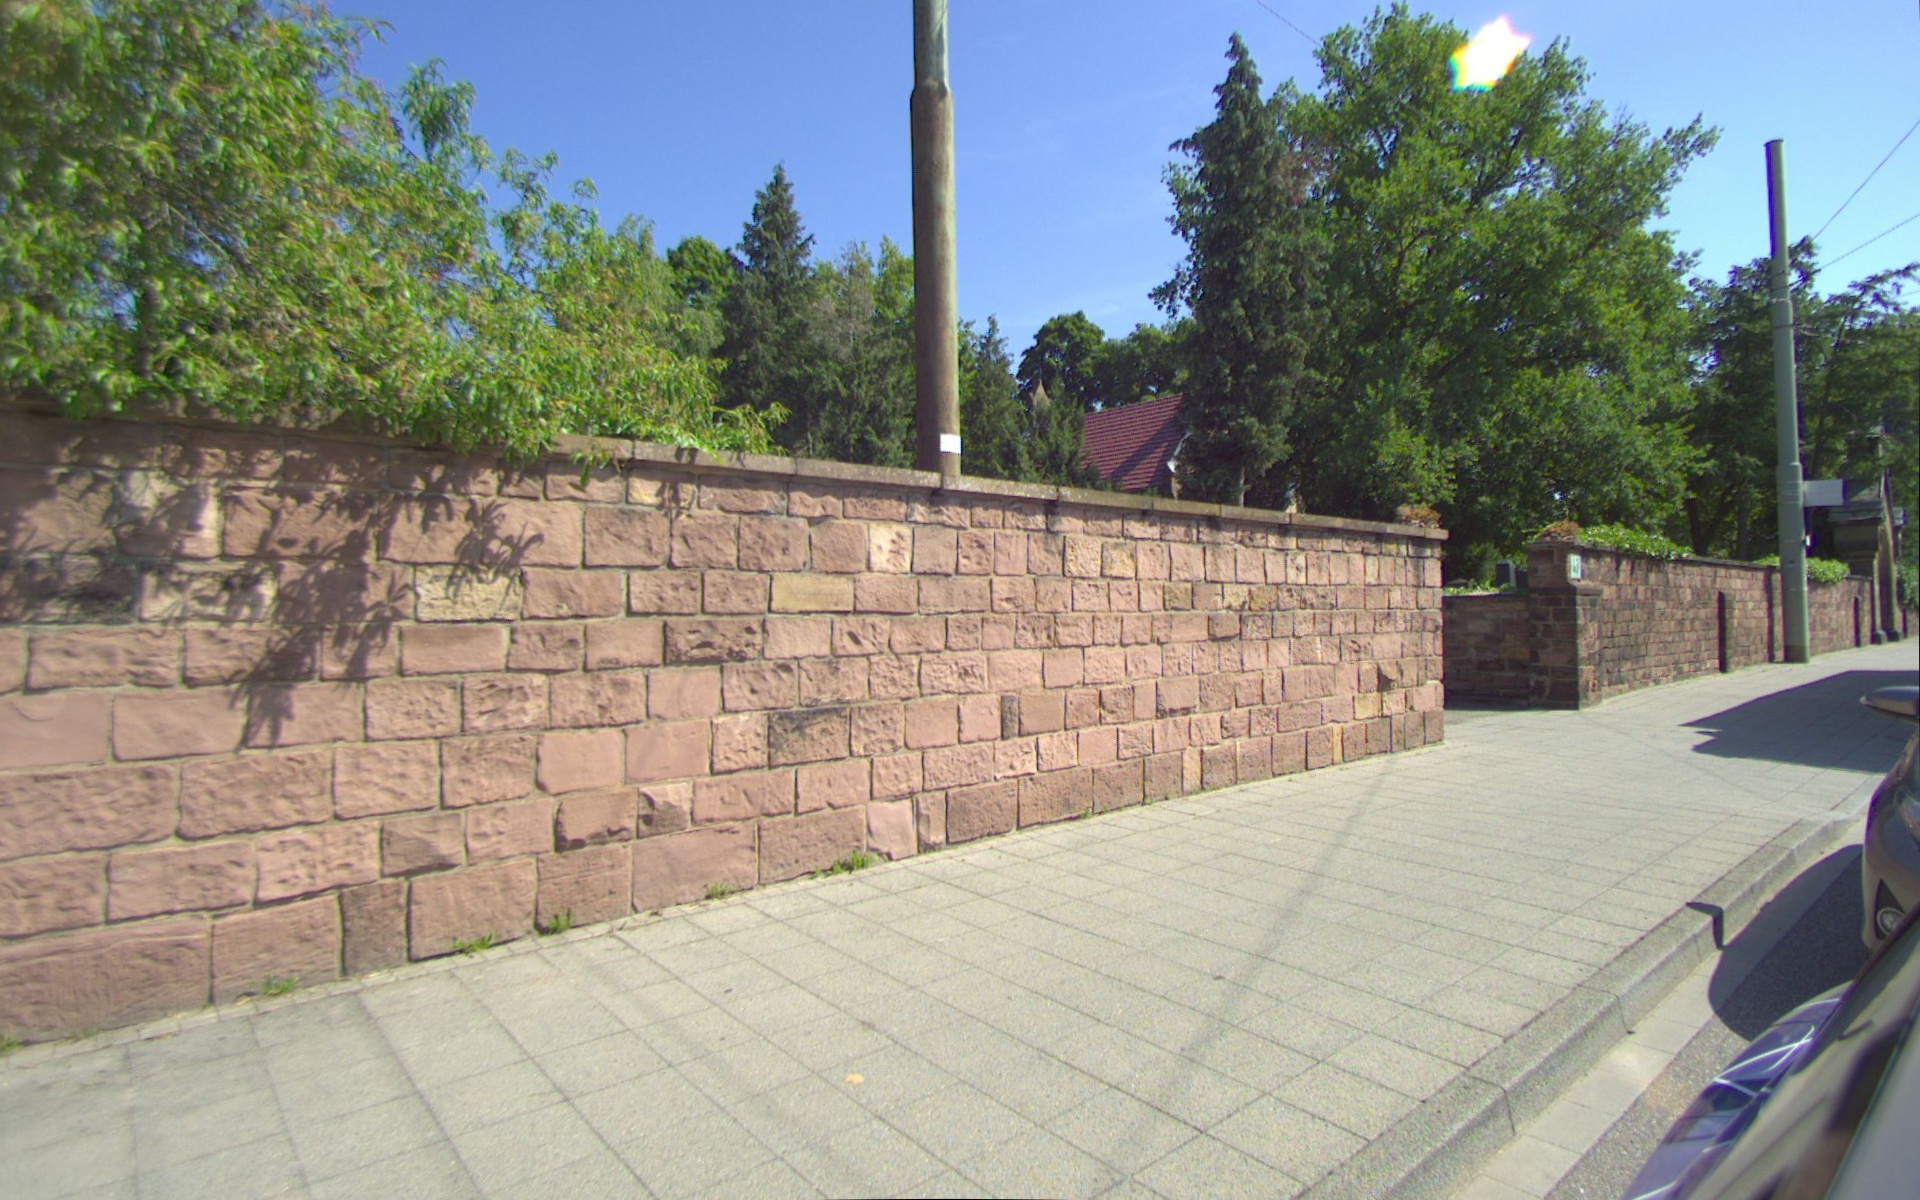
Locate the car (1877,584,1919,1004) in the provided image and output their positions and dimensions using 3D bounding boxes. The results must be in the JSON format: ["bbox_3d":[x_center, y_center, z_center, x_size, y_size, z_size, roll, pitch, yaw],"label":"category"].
[{"bbox_3d":[5.143,0.644,4.119,3.930,1.400,1.653,0,1,-41],"label":"car"}]
